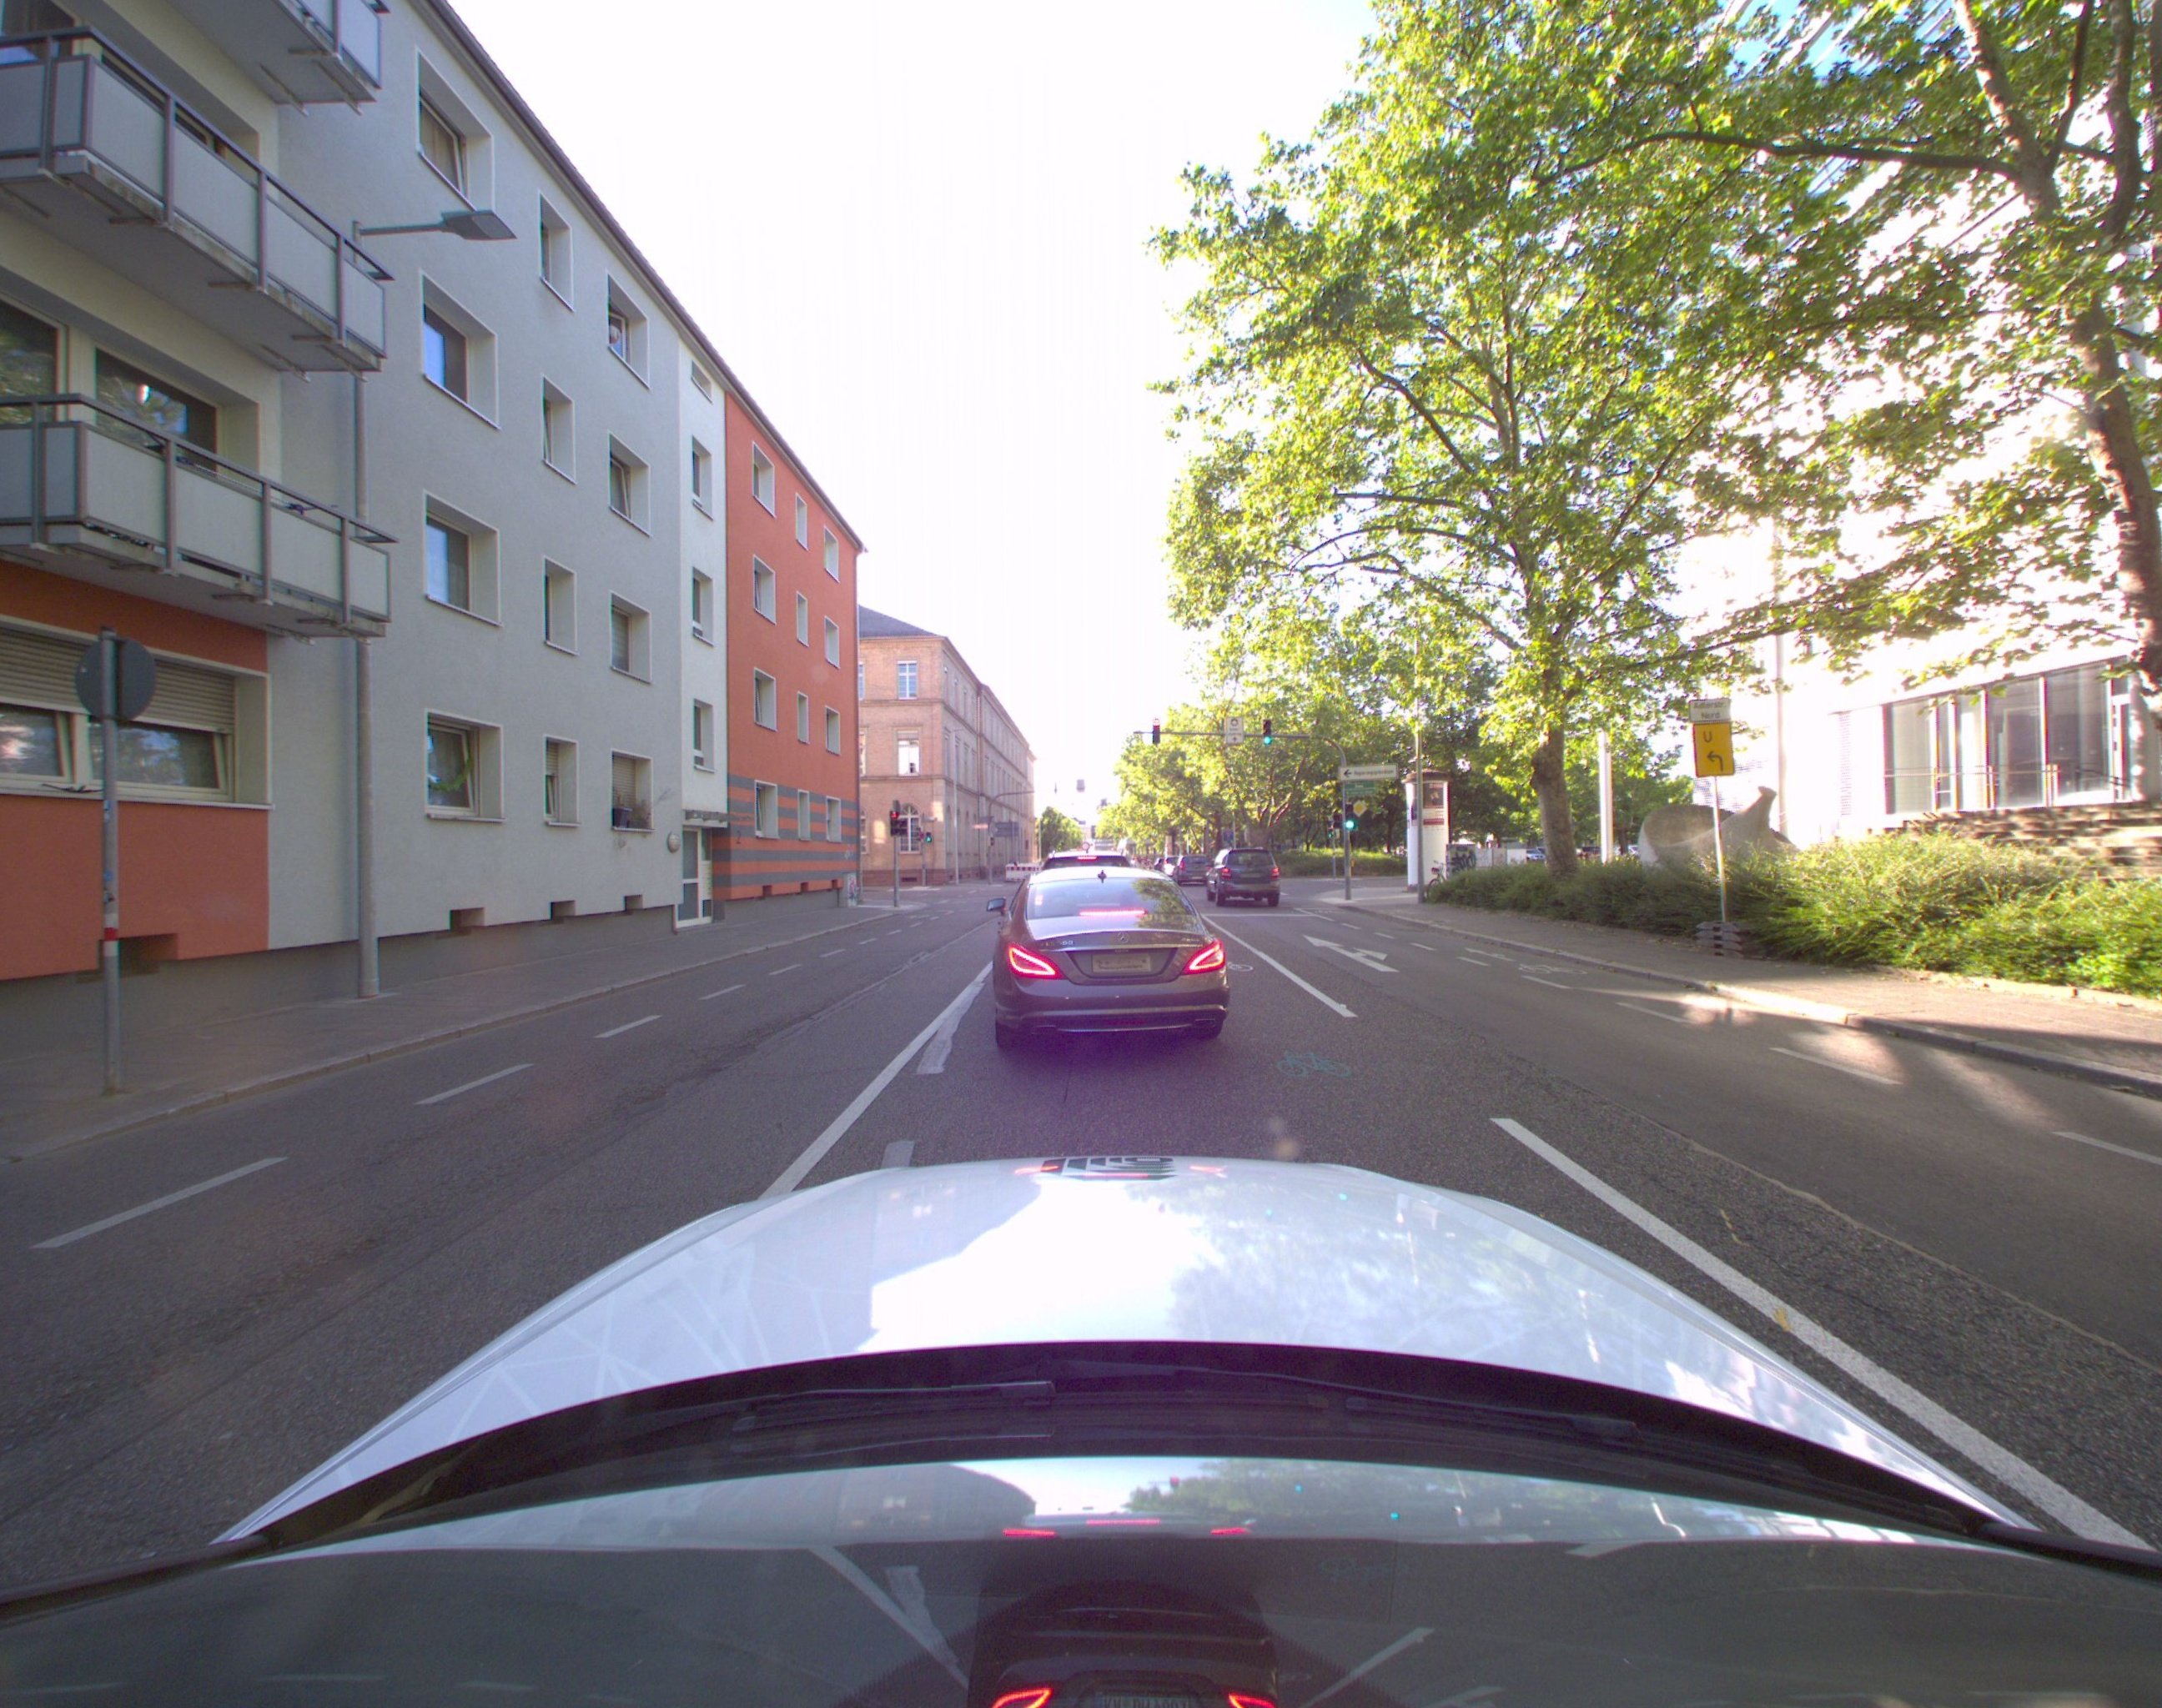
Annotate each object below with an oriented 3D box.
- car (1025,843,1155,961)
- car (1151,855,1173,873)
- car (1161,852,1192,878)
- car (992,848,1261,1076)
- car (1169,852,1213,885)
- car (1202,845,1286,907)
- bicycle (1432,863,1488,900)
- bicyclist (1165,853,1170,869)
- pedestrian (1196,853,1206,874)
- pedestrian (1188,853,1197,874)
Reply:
[{"bbox_3d":[0.192,0.693,13.736,1.854,1.682,4.002,-1,0,2],"label":"car"},{"bbox_3d":[7.066,0.848,71.214,1.595,1.549,3.682,0,-1,2],"label":"car"},{"bbox_3d":[6.264,0.728,53.971,1.725,1.662,3.682,0,-1,2],"label":"car"},{"bbox_3d":[0.144,0.734,7.601,1.859,1.519,3.992,-1,0,-6],"label":"car"},{"bbox_3d":[5.253,0.676,39.331,1.698,1.519,4.002,-1,0,2],"label":"car"},{"bbox_3d":[4.965,0.630,25.417,1.854,1.764,4.483,-1,0,2],"label":"car"},{"bbox_3d":[10.985,0.778,23.575,1.895,1.028,0.635,0,-1,-36],"label":"bicycle"},{"bbox_3d":[11.112,0.848,104.871,0.593,2.039,0.566,0,-1,-2],"label":"bicyclist"},{"bbox_3d":[10.003,0.797,67.894,0.634,1.760,0.698,0,-1,-2],"label":"pedestrian"},{"bbox_3d":[9.304,0.791,67.848,0.634,1.797,0.698,0,-1,-2],"label":"pedestrian"}]
